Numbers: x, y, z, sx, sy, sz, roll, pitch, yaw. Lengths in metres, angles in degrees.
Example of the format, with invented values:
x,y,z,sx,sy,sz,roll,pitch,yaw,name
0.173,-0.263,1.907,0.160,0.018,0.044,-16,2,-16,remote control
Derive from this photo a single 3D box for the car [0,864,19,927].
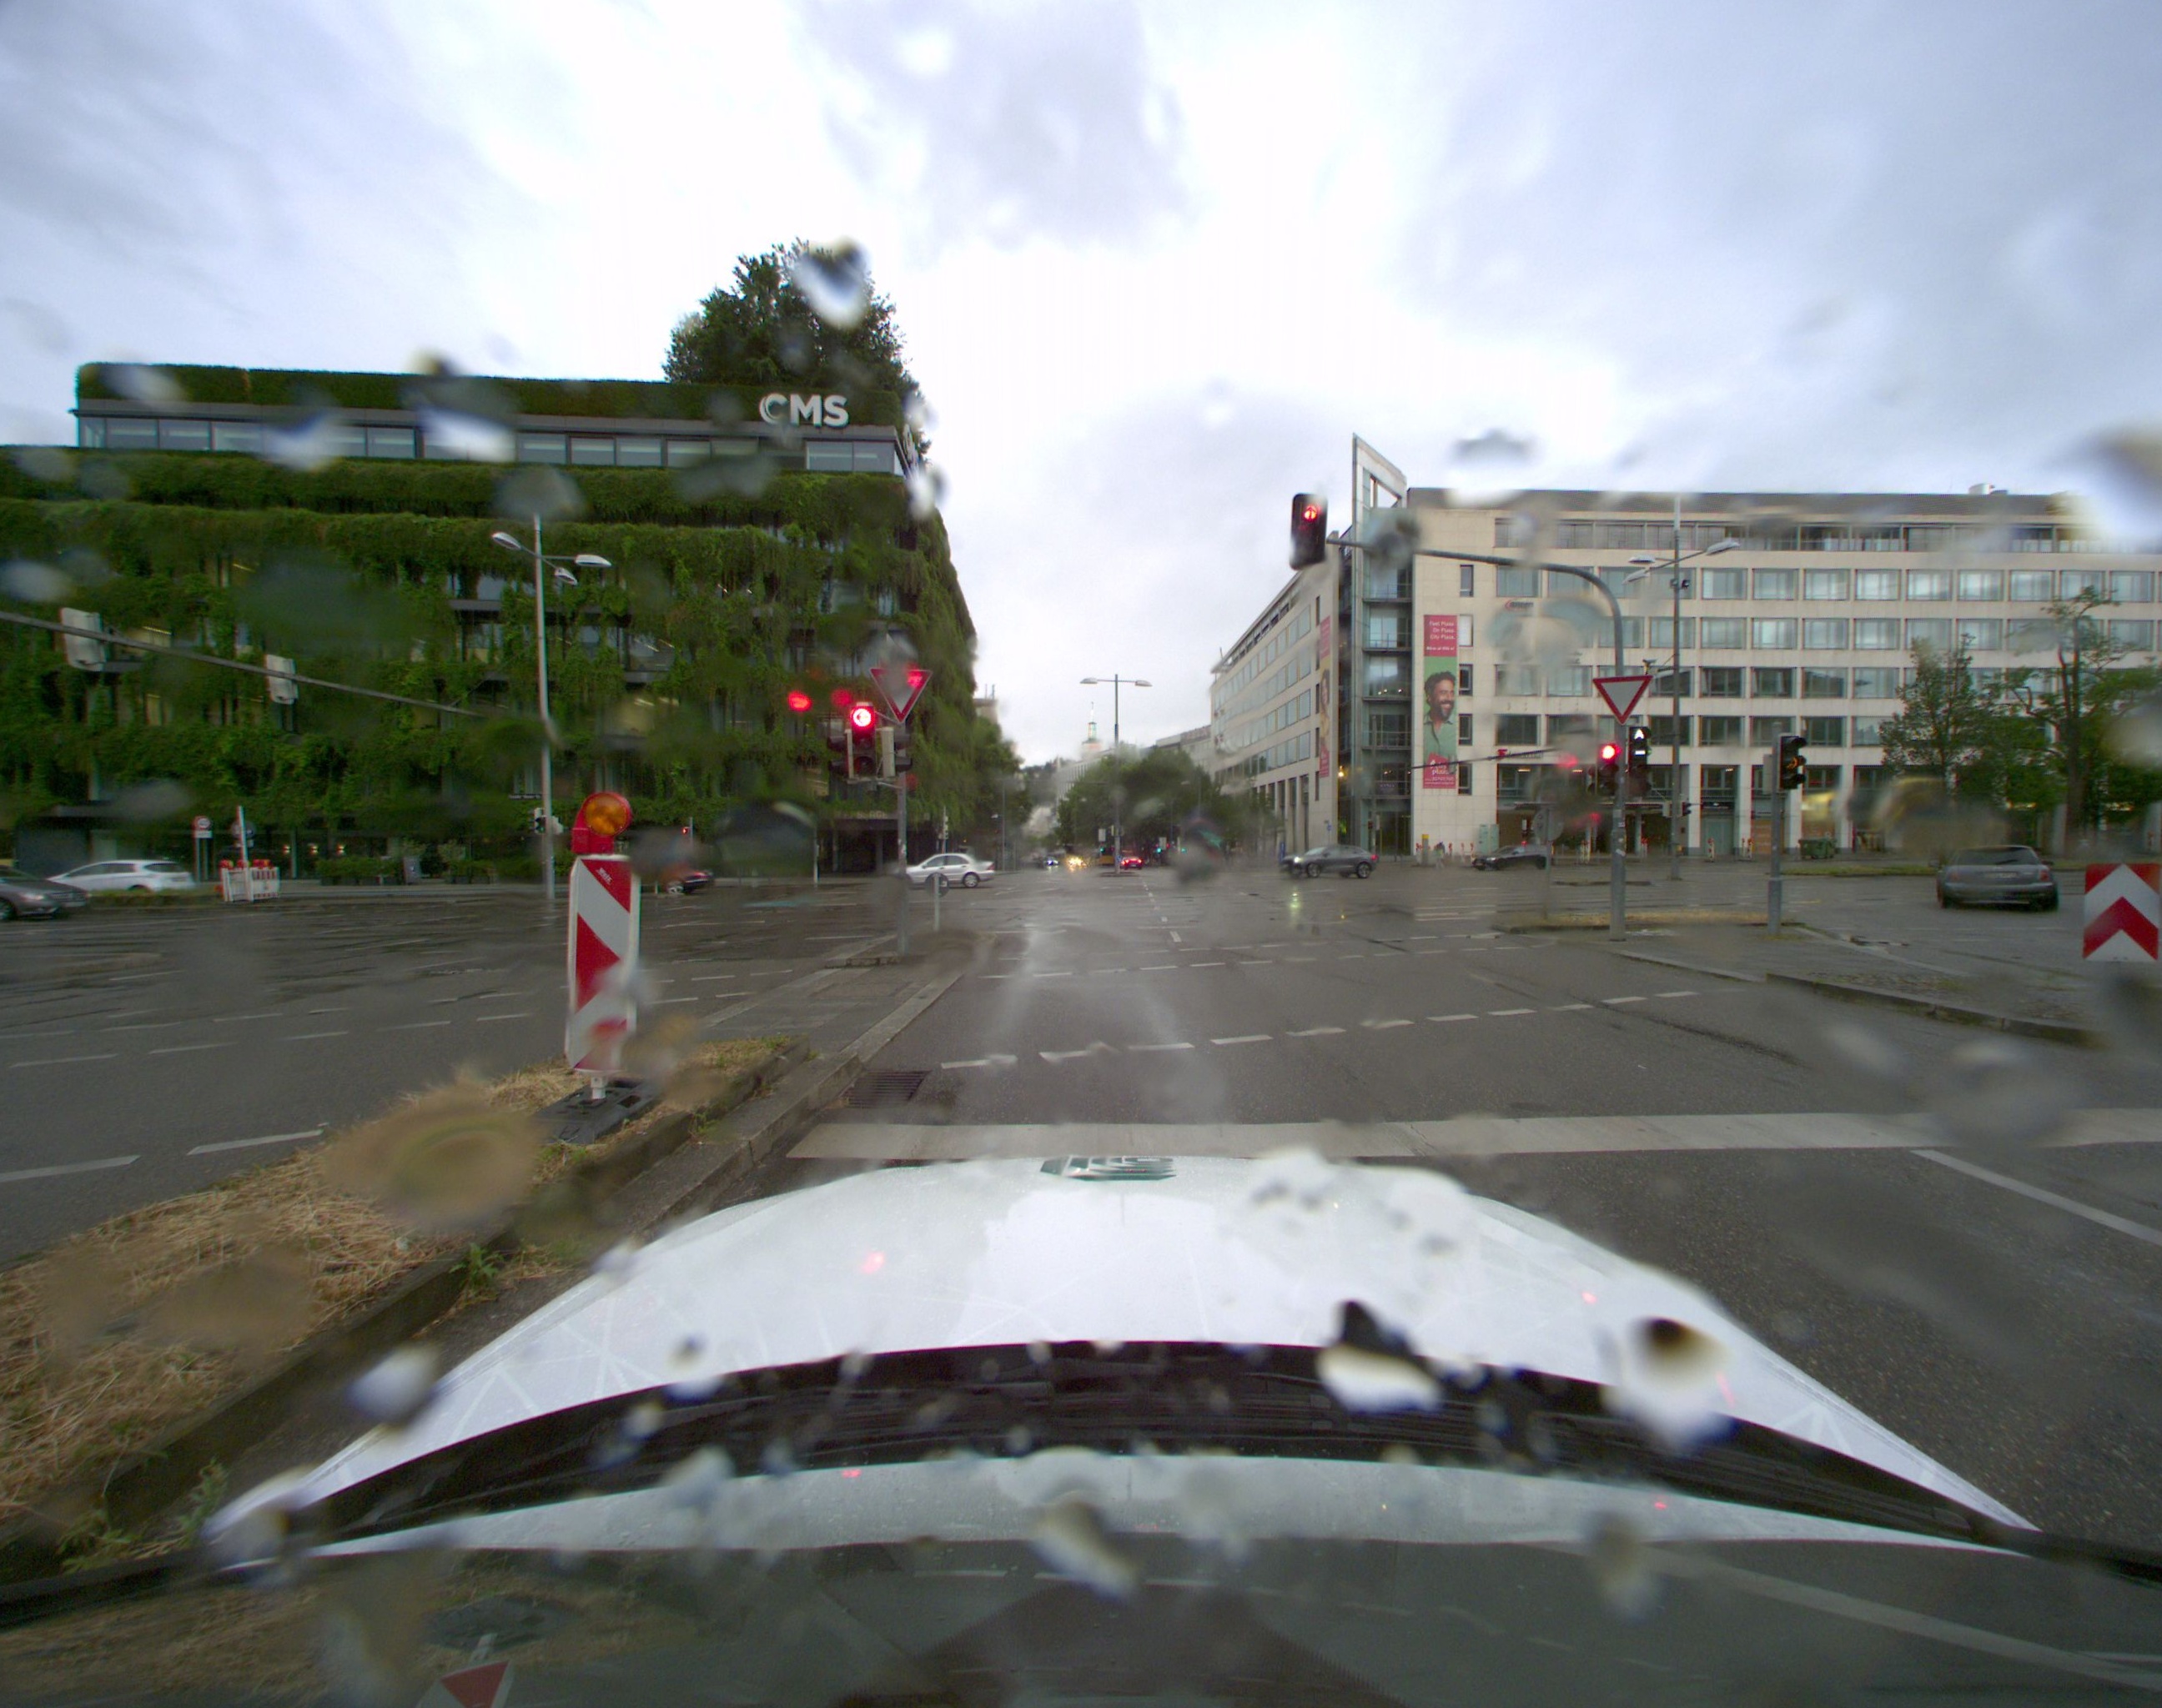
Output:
x,y,z,sx,sy,sz,roll,pitch,yaw,name
-27.341,1.004,18.303,3.981,1.475,1.996,-1,0,-6,car

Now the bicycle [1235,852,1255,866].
x,y,z,sx,sy,sz,roll,pitch,yaw,name
14.937,0.452,74.137,1.770,1.194,0.587,0,-1,3,bicycle

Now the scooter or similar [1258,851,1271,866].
x,y,z,sx,sy,sz,roll,pitch,yaw,name
14.419,0.373,63.975,0.951,1.194,0.458,-1,-1,42,scooter or similar

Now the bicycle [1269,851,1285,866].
x,y,z,sx,sy,sz,roll,pitch,yaw,name
16.050,0.383,66.732,0.579,1.194,1.794,-1,-1,40,bicycle

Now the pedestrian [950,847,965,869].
x,y,z,sx,sy,sz,roll,pitch,yaw,name
-9.052,0.293,59.726,0.930,1.644,0.774,0,-1,1,pedestrian

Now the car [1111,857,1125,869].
x,y,z,sx,sy,sz,roll,pitch,yaw,name
4.817,1.138,106.771,1.775,1.508,4.001,0,-1,2,car

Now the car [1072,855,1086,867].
x,y,z,sx,sy,sz,roll,pitch,yaw,name
-0.313,1.059,127.043,2.158,1.765,5.109,-1,0,-1,car

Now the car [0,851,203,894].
x,y,z,sx,sy,sz,roll,pitch,yaw,name
-35.810,0.652,29.840,4.690,1.512,1.802,0,-1,-14,car

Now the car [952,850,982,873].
x,y,z,sx,sy,sz,roll,pitch,yaw,name
-9.560,0.609,68.729,1.863,1.839,4.001,0,-1,2,car

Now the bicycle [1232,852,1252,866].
x,y,z,sx,sy,sz,roll,pitch,yaw,name
14.470,0.448,73.230,1.770,1.194,0.587,0,-1,3,bicycle

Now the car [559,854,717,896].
x,y,z,sx,sy,sz,roll,pitch,yaw,name
-16.675,0.788,30.922,4.853,1.477,1.990,0,-2,-14,car

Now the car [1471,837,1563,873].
x,y,z,sx,sy,sz,roll,pitch,yaw,name
25.186,0.047,47.112,4.646,2.014,1.546,0,-1,-6,car

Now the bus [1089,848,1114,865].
x,y,z,sx,sy,sz,roll,pitch,yaw,name
3.675,0.407,146.085,2.631,2.995,7.415,-1,0,-13,bus

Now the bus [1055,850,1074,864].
x,y,z,sx,sy,sz,roll,pitch,yaw,name
-3.548,0.640,173.569,2.631,2.995,7.294,-1,0,-13,bus

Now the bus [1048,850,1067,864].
x,y,z,sx,sy,sz,roll,pitch,yaw,name
-5.244,0.676,180.712,2.631,2.995,7.415,-1,0,-13,bus

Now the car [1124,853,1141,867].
x,y,z,sx,sy,sz,roll,pitch,yaw,name
5.806,0.649,92.060,1.775,1.508,4.001,0,-1,2,car

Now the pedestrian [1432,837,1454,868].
x,y,z,sx,sy,sz,roll,pitch,yaw,name
21.928,-0.088,49.299,0.958,1.816,0.837,0,-1,1,pedestrian

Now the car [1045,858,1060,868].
x,y,z,sx,sy,sz,roll,pitch,yaw,name
-5.141,1.628,147.093,2.163,1.765,4.816,-2,0,-9,car

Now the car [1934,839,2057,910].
x,y,z,sx,sy,sz,roll,pitch,yaw,name
20.846,0.425,18.628,3.742,1.455,1.724,0,-1,-42,car

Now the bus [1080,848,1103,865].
x,y,z,sx,sy,sz,roll,pitch,yaw,name
1.983,0.437,153.277,2.631,2.995,7.415,-1,0,-13,bus

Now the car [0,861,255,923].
x,y,z,sx,sy,sz,roll,pitch,yaw,name
-26.124,0.986,22.060,4.901,1.488,1.924,-1,0,-15,car

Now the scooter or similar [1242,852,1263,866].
x,y,z,sx,sy,sz,roll,pitch,yaw,name
14.907,0.425,70.792,1.770,1.194,0.587,0,-1,3,scooter or similar

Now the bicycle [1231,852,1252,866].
x,y,z,sx,sy,sz,roll,pitch,yaw,name
14.295,0.444,72.600,1.770,1.194,0.587,0,-1,3,bicycle

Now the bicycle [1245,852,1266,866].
x,y,z,sx,sy,sz,roll,pitch,yaw,name
15.286,0.427,71.406,1.770,1.194,0.587,0,-1,3,bicycle

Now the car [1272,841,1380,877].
x,y,z,sx,sy,sz,roll,pitch,yaw,name
11.273,0.221,37.528,4.480,1.609,1.823,0,-1,-14,car

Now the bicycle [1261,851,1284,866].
x,y,z,sx,sy,sz,roll,pitch,yaw,name
15.200,0.373,64.642,1.607,1.194,0.590,-1,-1,27,bicycle

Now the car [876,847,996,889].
x,y,z,sx,sy,sz,roll,pitch,yaw,name
-5.973,0.556,33.564,4.724,1.476,1.992,-1,3,-13,car

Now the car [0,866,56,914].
x,y,z,sx,sy,sz,roll,pitch,yaw,name
-37.588,1.104,26.740,4.687,1.512,1.803,3,-1,-13,car

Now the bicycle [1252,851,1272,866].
x,y,z,sx,sy,sz,roll,pitch,yaw,name
14.727,0.389,66.206,0.588,1.194,1.768,0,-1,-26,bicycle
